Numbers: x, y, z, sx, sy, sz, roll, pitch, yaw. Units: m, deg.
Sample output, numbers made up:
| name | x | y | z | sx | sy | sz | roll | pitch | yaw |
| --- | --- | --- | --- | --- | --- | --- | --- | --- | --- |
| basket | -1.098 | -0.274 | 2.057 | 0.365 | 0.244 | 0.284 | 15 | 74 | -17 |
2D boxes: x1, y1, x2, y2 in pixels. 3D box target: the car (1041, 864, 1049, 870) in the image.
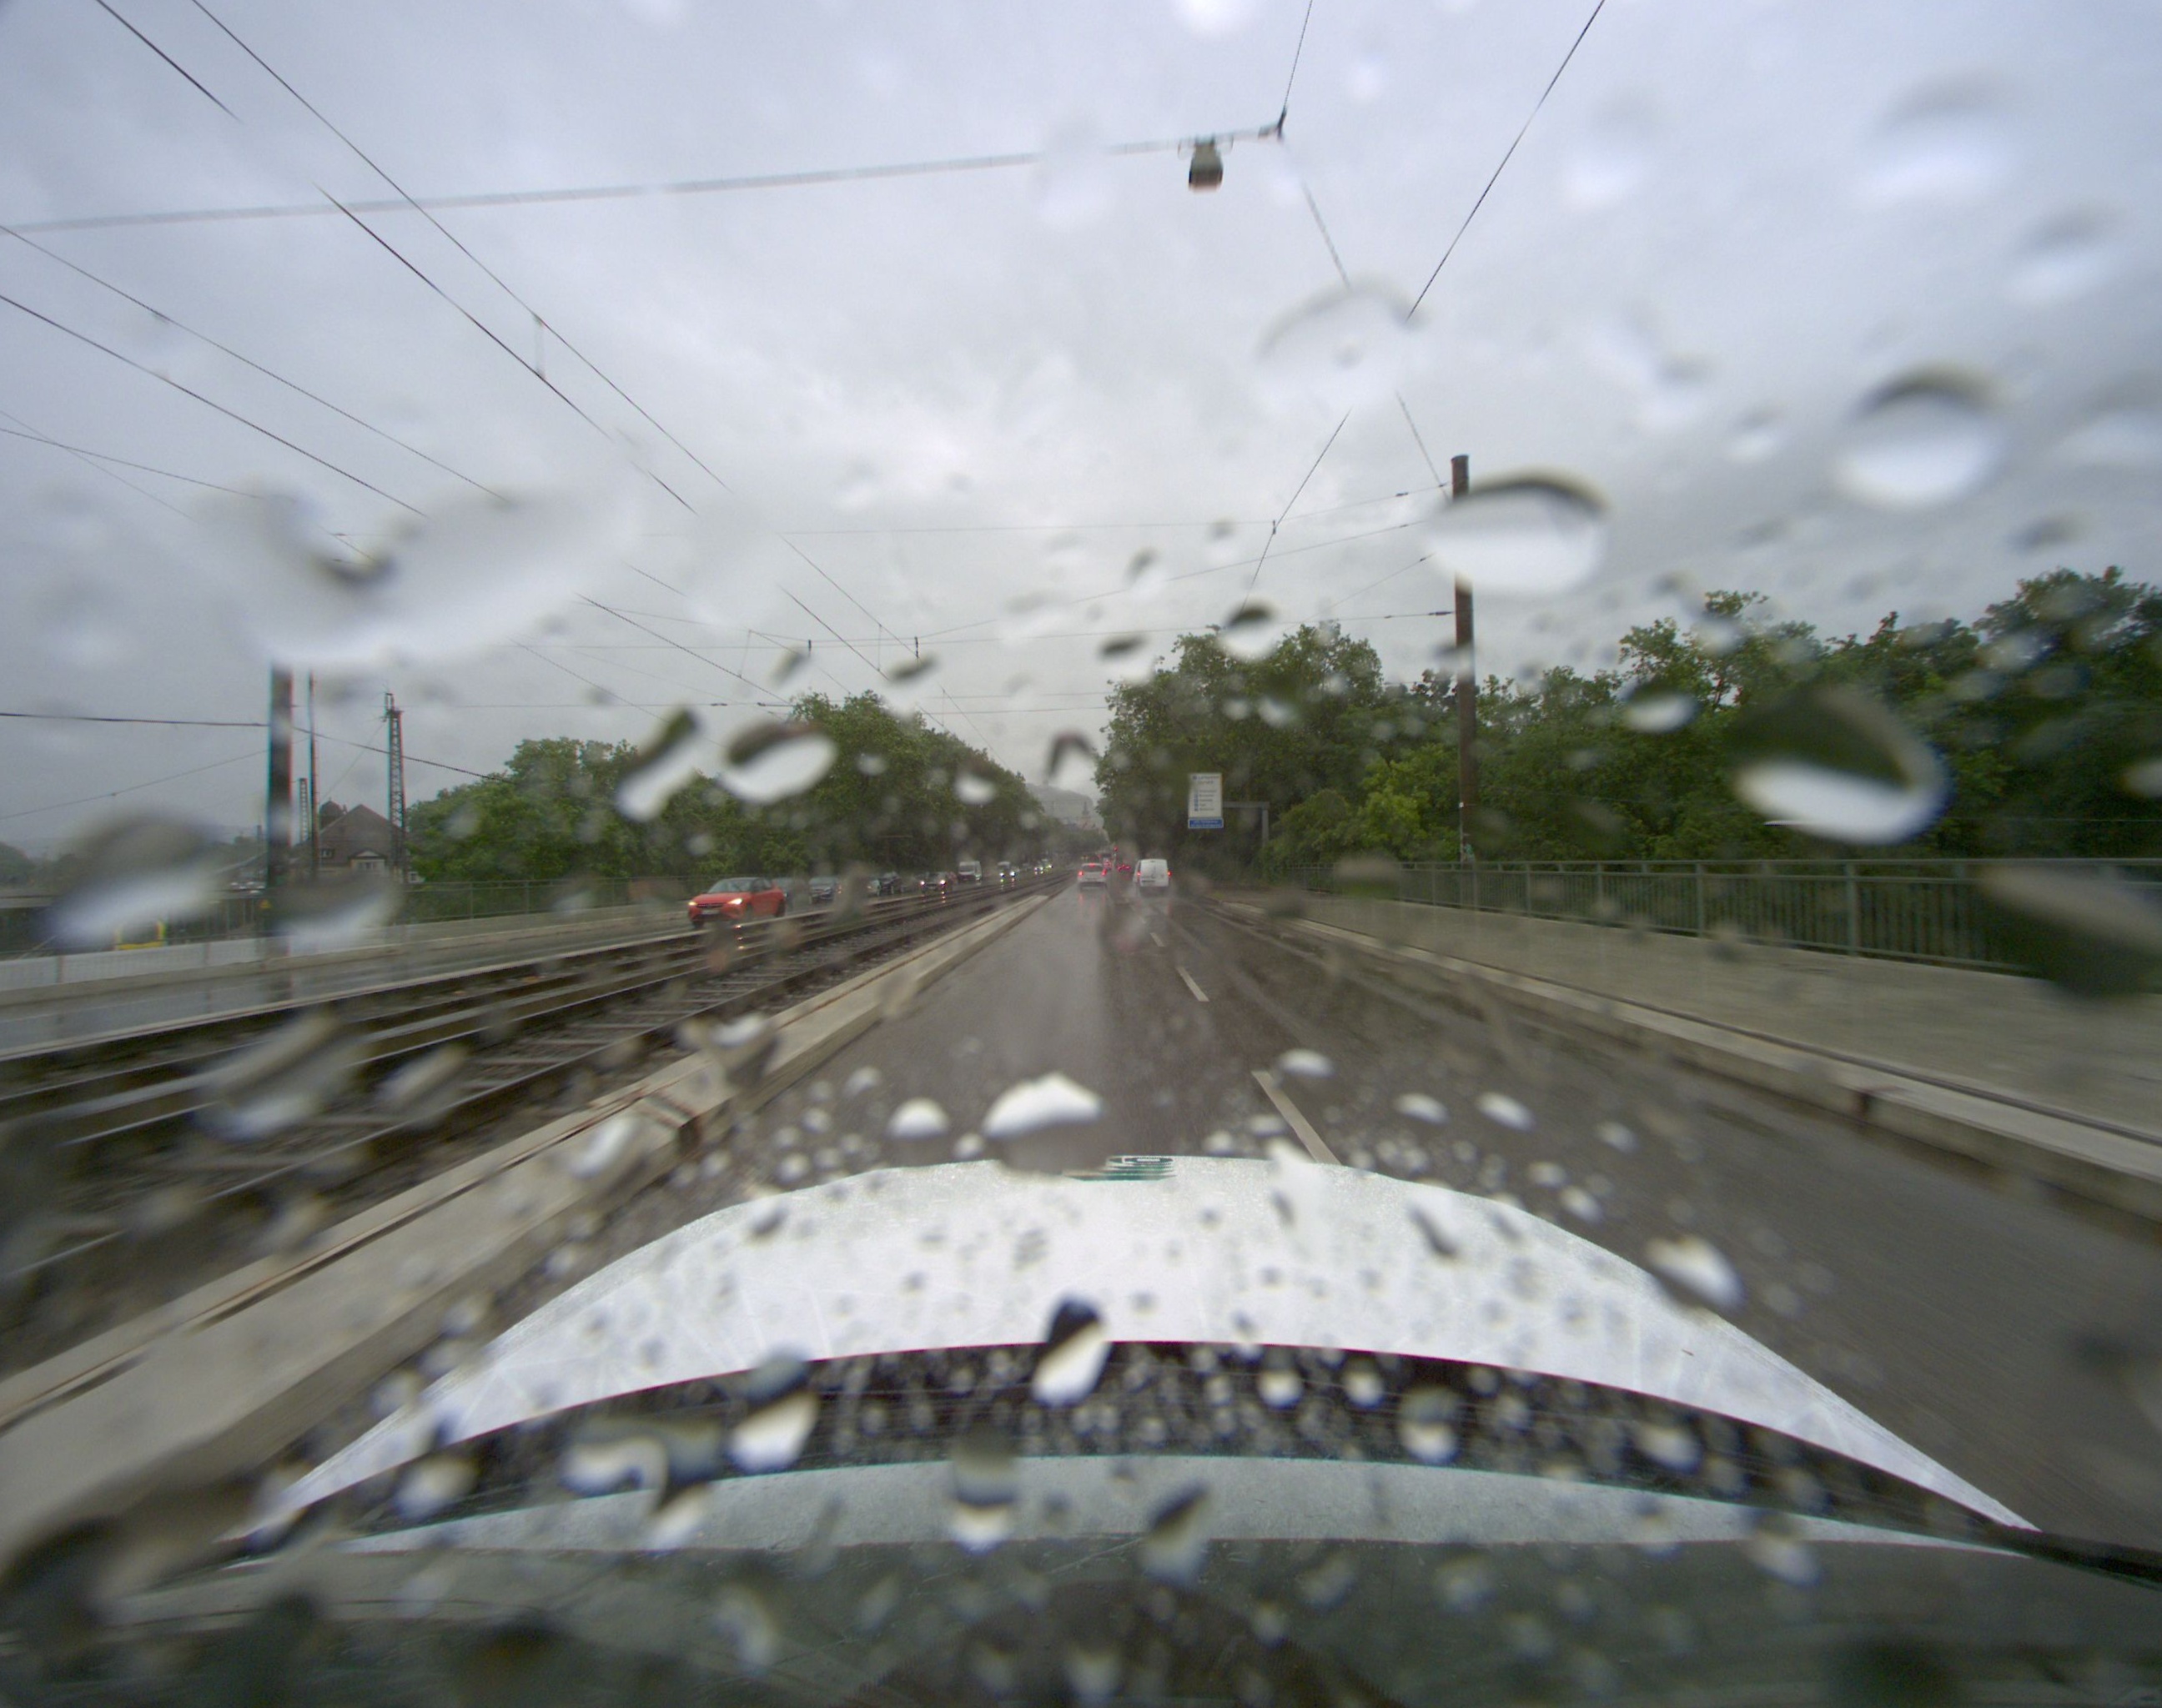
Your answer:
| name | x | y | z | sx | sy | sz | roll | pitch | yaw |
| --- | --- | --- | --- | --- | --- | --- | --- | --- | --- |
| car | -9.283 | 3.240 | 210.035 | 1.798 | 1.350 | 4.265 | -3 | 0 | 1 |

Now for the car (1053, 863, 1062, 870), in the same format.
| name | x | y | z | sx | sy | sz | roll | pitch | yaw |
| --- | --- | --- | --- | --- | --- | --- | --- | --- | --- |
| car | -5.556 | 2.916 | 192.898 | 1.797 | 1.350 | 4.267 | -3 | 0 | 3 |

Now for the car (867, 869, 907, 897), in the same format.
| name | x | y | z | sx | sy | sz | roll | pitch | yaw |
| --- | --- | --- | --- | --- | --- | --- | --- | --- | --- |
| car | -13.339 | 1.951 | 56.219 | 1.501 | 1.671 | 4.833 | -3 | 0 | 0 |

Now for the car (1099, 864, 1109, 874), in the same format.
| name | x | y | z | sx | sy | sz | roll | pitch | yaw |
| --- | --- | --- | --- | --- | --- | --- | --- | --- | --- |
| car | 4.550 | 2.962 | 160.207 | 1.985 | 1.827 | 4.004 | 0 | 0 | 3 |

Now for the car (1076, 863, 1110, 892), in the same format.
| name | x | y | z | sx | sy | sz | roll | pitch | yaw |
| --- | --- | --- | --- | --- | --- | --- | --- | --- | --- |
| car | 0.807 | 1.425 | 51.095 | 1.985 | 1.717 | 4.004 | 0 | 0 | 3 |

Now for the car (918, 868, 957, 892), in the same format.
| name | x | y | z | sx | sy | sz | roll | pitch | yaw |
| --- | --- | --- | --- | --- | --- | --- | --- | --- | --- |
| car | -10.030 | 1.783 | 57.086 | 1.809 | 1.368 | 4.268 | 0 | 3 | 2 |

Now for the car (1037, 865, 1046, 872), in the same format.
| name | x | y | z | sx | sy | sz | roll | pitch | yaw |
| --- | --- | --- | --- | --- | --- | --- | --- | --- | --- |
| car | -8.978 | 3.367 | 184.731 | 1.798 | 1.350 | 4.265 | -3 | 0 | 1 |

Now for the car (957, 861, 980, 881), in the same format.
| name | x | y | z | sx | sy | sz | roll | pitch | yaw |
| --- | --- | --- | --- | --- | --- | --- | --- | --- | --- |
| car | -12.982 | 1.945 | 94.597 | 1.735 | 2.169 | 5.813 | -3 | 0 | 0 |

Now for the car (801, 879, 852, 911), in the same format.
| name | x | y | z | sx | sy | sz | roll | pitch | yaw |
| --- | --- | --- | --- | --- | --- | --- | --- | --- | --- |
| car | -13.706 | 2.183 | 44.034 | 1.502 | 1.401 | 4.403 | -3 | 0 | -3 |

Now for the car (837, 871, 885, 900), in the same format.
| name | x | y | z | sx | sy | sz | roll | pitch | yaw |
| --- | --- | --- | --- | --- | --- | --- | --- | --- | --- |
| car | -13.474 | 1.868 | 50.157 | 1.501 | 1.400 | 4.893 | -7 | 0 | 0 |

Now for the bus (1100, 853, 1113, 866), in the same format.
| name | x | y | z | sx | sy | sz | roll | pitch | yaw |
| --- | --- | --- | --- | --- | --- | --- | --- | --- | --- |
| bus | 7.360 | 1.546 | 234.960 | 3.375 | 3.836 | 9.747 | 0 | 0 | 3 |

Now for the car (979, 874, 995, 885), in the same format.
| name | x | y | z | sx | sy | sz | roll | pitch | yaw |
| --- | --- | --- | --- | --- | --- | --- | --- | --- | --- |
| car | -12.684 | 3.429 | 110.342 | 1.500 | 1.350 | 4.028 | -3 | 0 | 1 |

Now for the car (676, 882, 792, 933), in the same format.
| name | x | y | z | sx | sy | sz | roll | pitch | yaw |
| --- | --- | --- | --- | --- | --- | --- | --- | --- | --- |
| car | -10.843 | 1.628 | 25.790 | 1.792 | 1.316 | 4.085 | 0 | 0 | 2 |

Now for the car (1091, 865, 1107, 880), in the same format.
| name | x | y | z | sx | sy | sz | roll | pitch | yaw |
| --- | --- | --- | --- | --- | --- | --- | --- | --- | --- |
| car | 2.479 | 2.465 | 108.749 | 1.985 | 1.827 | 4.004 | 0 | 0 | 3 |

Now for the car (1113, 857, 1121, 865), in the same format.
| name | x | y | z | sx | sy | sz | roll | pitch | yaw |
| --- | --- | --- | --- | --- | --- | --- | --- | --- | --- |
| car | 9.012 | 1.781 | 201.698 | 1.985 | 1.827 | 4.004 | 0 | 0 | 3 |

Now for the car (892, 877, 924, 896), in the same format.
| name | x | y | z | sx | sy | sz | roll | pitch | yaw |
| --- | --- | --- | --- | --- | --- | --- | --- | --- | --- |
| car | -13.275 | 2.495 | 62.547 | 1.500 | 1.172 | 3.713 | -3 | 0 | 1 |

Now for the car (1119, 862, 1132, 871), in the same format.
| name | x | y | z | sx | sy | sz | roll | pitch | yaw |
| --- | --- | --- | --- | --- | --- | --- | --- | --- | --- |
| car | 7.085 | 1.991 | 130.232 | 1.985 | 1.321 | 4.004 | 0 | 0 | 3 |

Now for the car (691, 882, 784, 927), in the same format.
| name | x | y | z | sx | sy | sz | roll | pitch | yaw |
| --- | --- | --- | --- | --- | --- | --- | --- | --- | --- |
| car | -14.030 | 2.016 | 33.538 | 1.857 | 1.455 | 4.320 | -3 | 0 | 0 |

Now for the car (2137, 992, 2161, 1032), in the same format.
| name | x | y | z | sx | sy | sz | roll | pitch | yaw |
| --- | --- | --- | --- | --- | --- | --- | --- | --- | --- |
| car | 43.941 | 6.209 | 31.519 | 3.977 | 1.420 | 1.845 | 0 | 0 | -3 |

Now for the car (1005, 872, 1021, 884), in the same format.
| name | x | y | z | sx | sy | sz | roll | pitch | yaw |
| --- | --- | --- | --- | --- | --- | --- | --- | --- | --- |
| car | -9.242 | 3.305 | 110.840 | 1.500 | 1.401 | 4.709 | -3 | 0 | 2 |

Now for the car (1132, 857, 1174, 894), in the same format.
| name | x | y | z | sx | sy | sz | roll | pitch | yaw |
| --- | --- | --- | --- | --- | --- | --- | --- | --- | --- |
| car | 3.634 | 1.060 | 41.667 | 1.985 | 1.726 | 4.004 | 0 | 0 | 3 |
